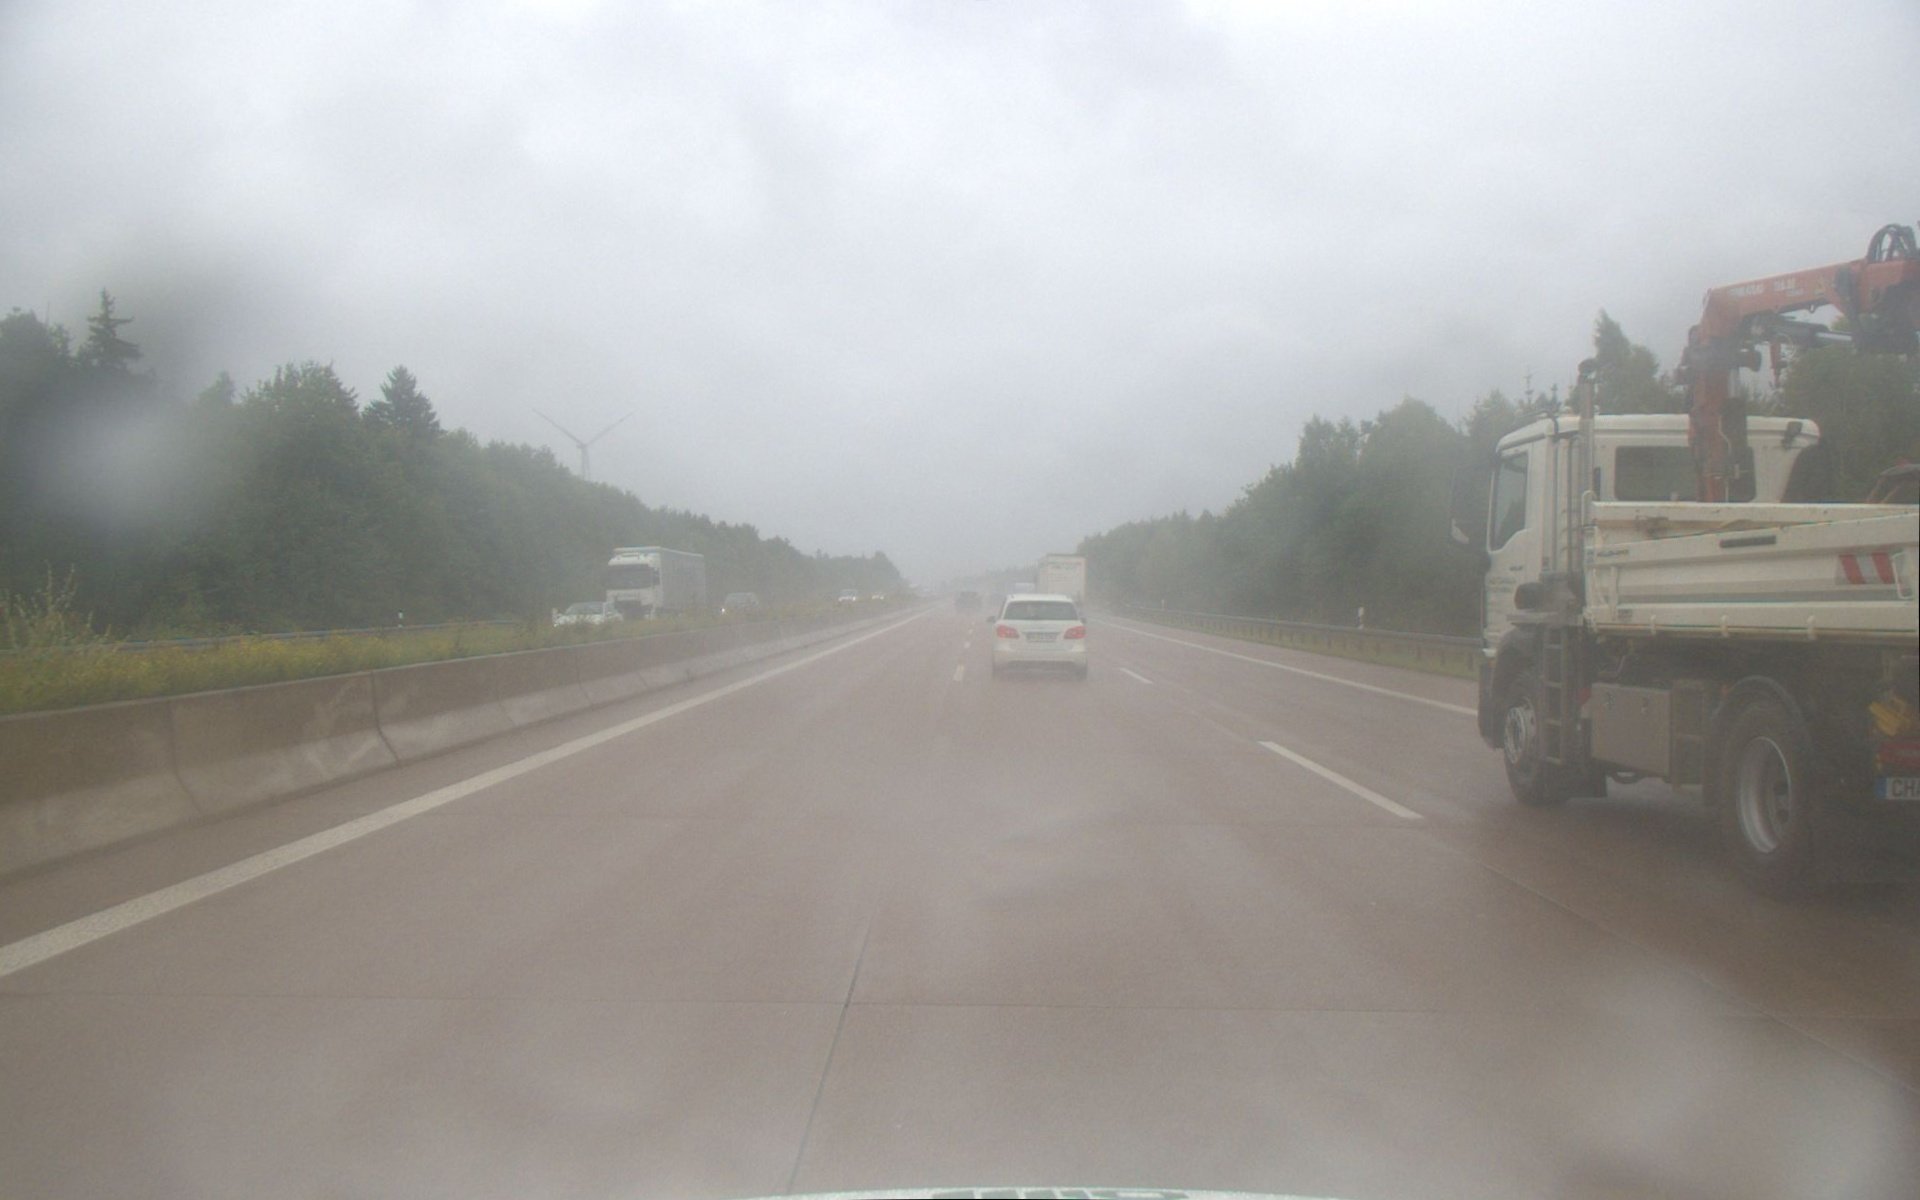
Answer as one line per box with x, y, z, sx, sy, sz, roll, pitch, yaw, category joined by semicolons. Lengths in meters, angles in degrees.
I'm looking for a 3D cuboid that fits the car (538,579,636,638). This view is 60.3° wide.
-13.413;0.268;59.902;2.259;2.012;5.755;1;0;0;car

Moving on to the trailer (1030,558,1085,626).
6.501;-0.605;112.325;2.794;4.305;13.131;-1;1;0;trailer

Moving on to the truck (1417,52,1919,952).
5.652;-0.419;10.748;3.168;3.795;7.955;1;0;0;truck

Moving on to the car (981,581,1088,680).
1.371;0.546;32.119;1.771;1.758;4.743;0;0;-1;car
